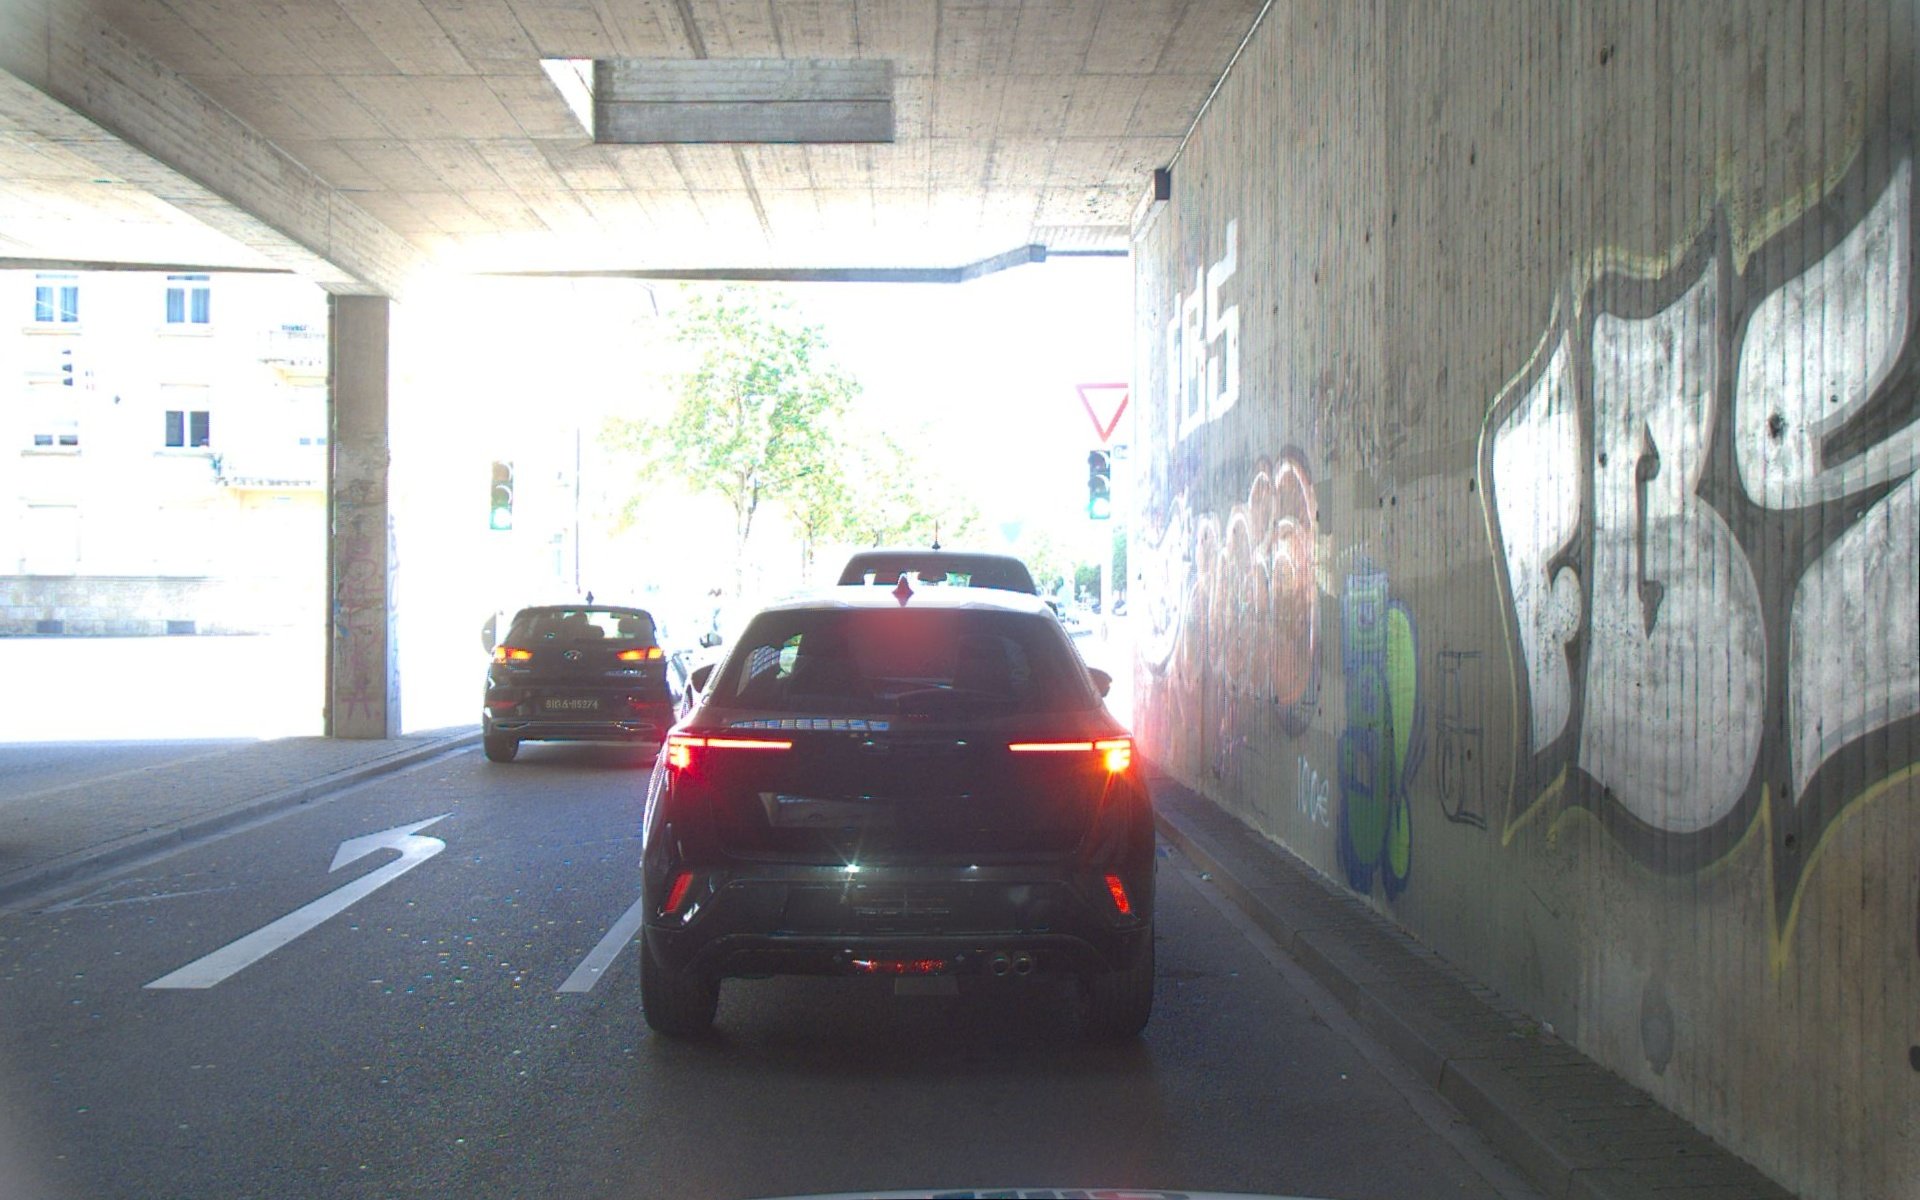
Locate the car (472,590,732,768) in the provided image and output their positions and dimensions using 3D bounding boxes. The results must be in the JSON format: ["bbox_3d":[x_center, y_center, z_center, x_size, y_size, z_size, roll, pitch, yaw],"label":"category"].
[{"bbox_3d":[-3.274,0.645,15.934,1.765,1.476,4.324,0,0,-3],"label":"car"}]

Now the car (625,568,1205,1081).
[{"bbox_3d":[-0.160,0.679,6.909,1.745,1.544,3.755,1,0,-1],"label":"car"}]

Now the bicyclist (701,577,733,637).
[{"bbox_3d":[-6.902,0.187,47.011,0.766,1.689,1.031,0,0,1],"label":"bicyclist"}]

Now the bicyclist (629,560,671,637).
[{"bbox_3d":[-7.114,-0.044,37.972,0.730,1.741,0.967,0,2,2],"label":"bicyclist"}]

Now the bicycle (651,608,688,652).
[{"bbox_3d":[-7.646,0.787,43.626,0.514,1.109,1.861,0,0,4],"label":"bicycle"}]

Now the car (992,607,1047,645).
[{"bbox_3d":[2.450,1.036,67.439,1.671,1.477,3.854,0,0,11],"label":"car"}]

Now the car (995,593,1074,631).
[{"bbox_3d":[5.223,0.838,116.231,5.175,2.590,1.977,0,-1,-16],"label":"car"}]

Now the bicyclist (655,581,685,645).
[{"bbox_3d":[-7.652,0.330,43.651,0.593,1.661,0.910,0,0,4],"label":"bicyclist"}]

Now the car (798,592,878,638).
[{"bbox_3d":[-3.961,0.471,54.047,1.622,1.466,3.466,0,0,14],"label":"car"}]

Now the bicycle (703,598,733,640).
[{"bbox_3d":[-6.874,0.531,47.114,0.530,1.142,2.059,0,0,1],"label":"bicycle"}]

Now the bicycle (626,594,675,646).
[{"bbox_3d":[-7.092,0.443,37.985,0.683,1.109,1.861,0,2,2],"label":"bicycle"}]

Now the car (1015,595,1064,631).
[{"bbox_3d":[3.618,0.551,74.741,1.668,1.539,3.866,-2,0,11],"label":"car"}]

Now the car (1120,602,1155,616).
[{"bbox_3d":[20.805,1.065,194.120,3.866,1.421,1.516,-2,-1,1],"label":"car"}]

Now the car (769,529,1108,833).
[{"bbox_3d":[-0.176,0.488,12.677,2.090,1.867,4.939,0,0,-1],"label":"car"}]
